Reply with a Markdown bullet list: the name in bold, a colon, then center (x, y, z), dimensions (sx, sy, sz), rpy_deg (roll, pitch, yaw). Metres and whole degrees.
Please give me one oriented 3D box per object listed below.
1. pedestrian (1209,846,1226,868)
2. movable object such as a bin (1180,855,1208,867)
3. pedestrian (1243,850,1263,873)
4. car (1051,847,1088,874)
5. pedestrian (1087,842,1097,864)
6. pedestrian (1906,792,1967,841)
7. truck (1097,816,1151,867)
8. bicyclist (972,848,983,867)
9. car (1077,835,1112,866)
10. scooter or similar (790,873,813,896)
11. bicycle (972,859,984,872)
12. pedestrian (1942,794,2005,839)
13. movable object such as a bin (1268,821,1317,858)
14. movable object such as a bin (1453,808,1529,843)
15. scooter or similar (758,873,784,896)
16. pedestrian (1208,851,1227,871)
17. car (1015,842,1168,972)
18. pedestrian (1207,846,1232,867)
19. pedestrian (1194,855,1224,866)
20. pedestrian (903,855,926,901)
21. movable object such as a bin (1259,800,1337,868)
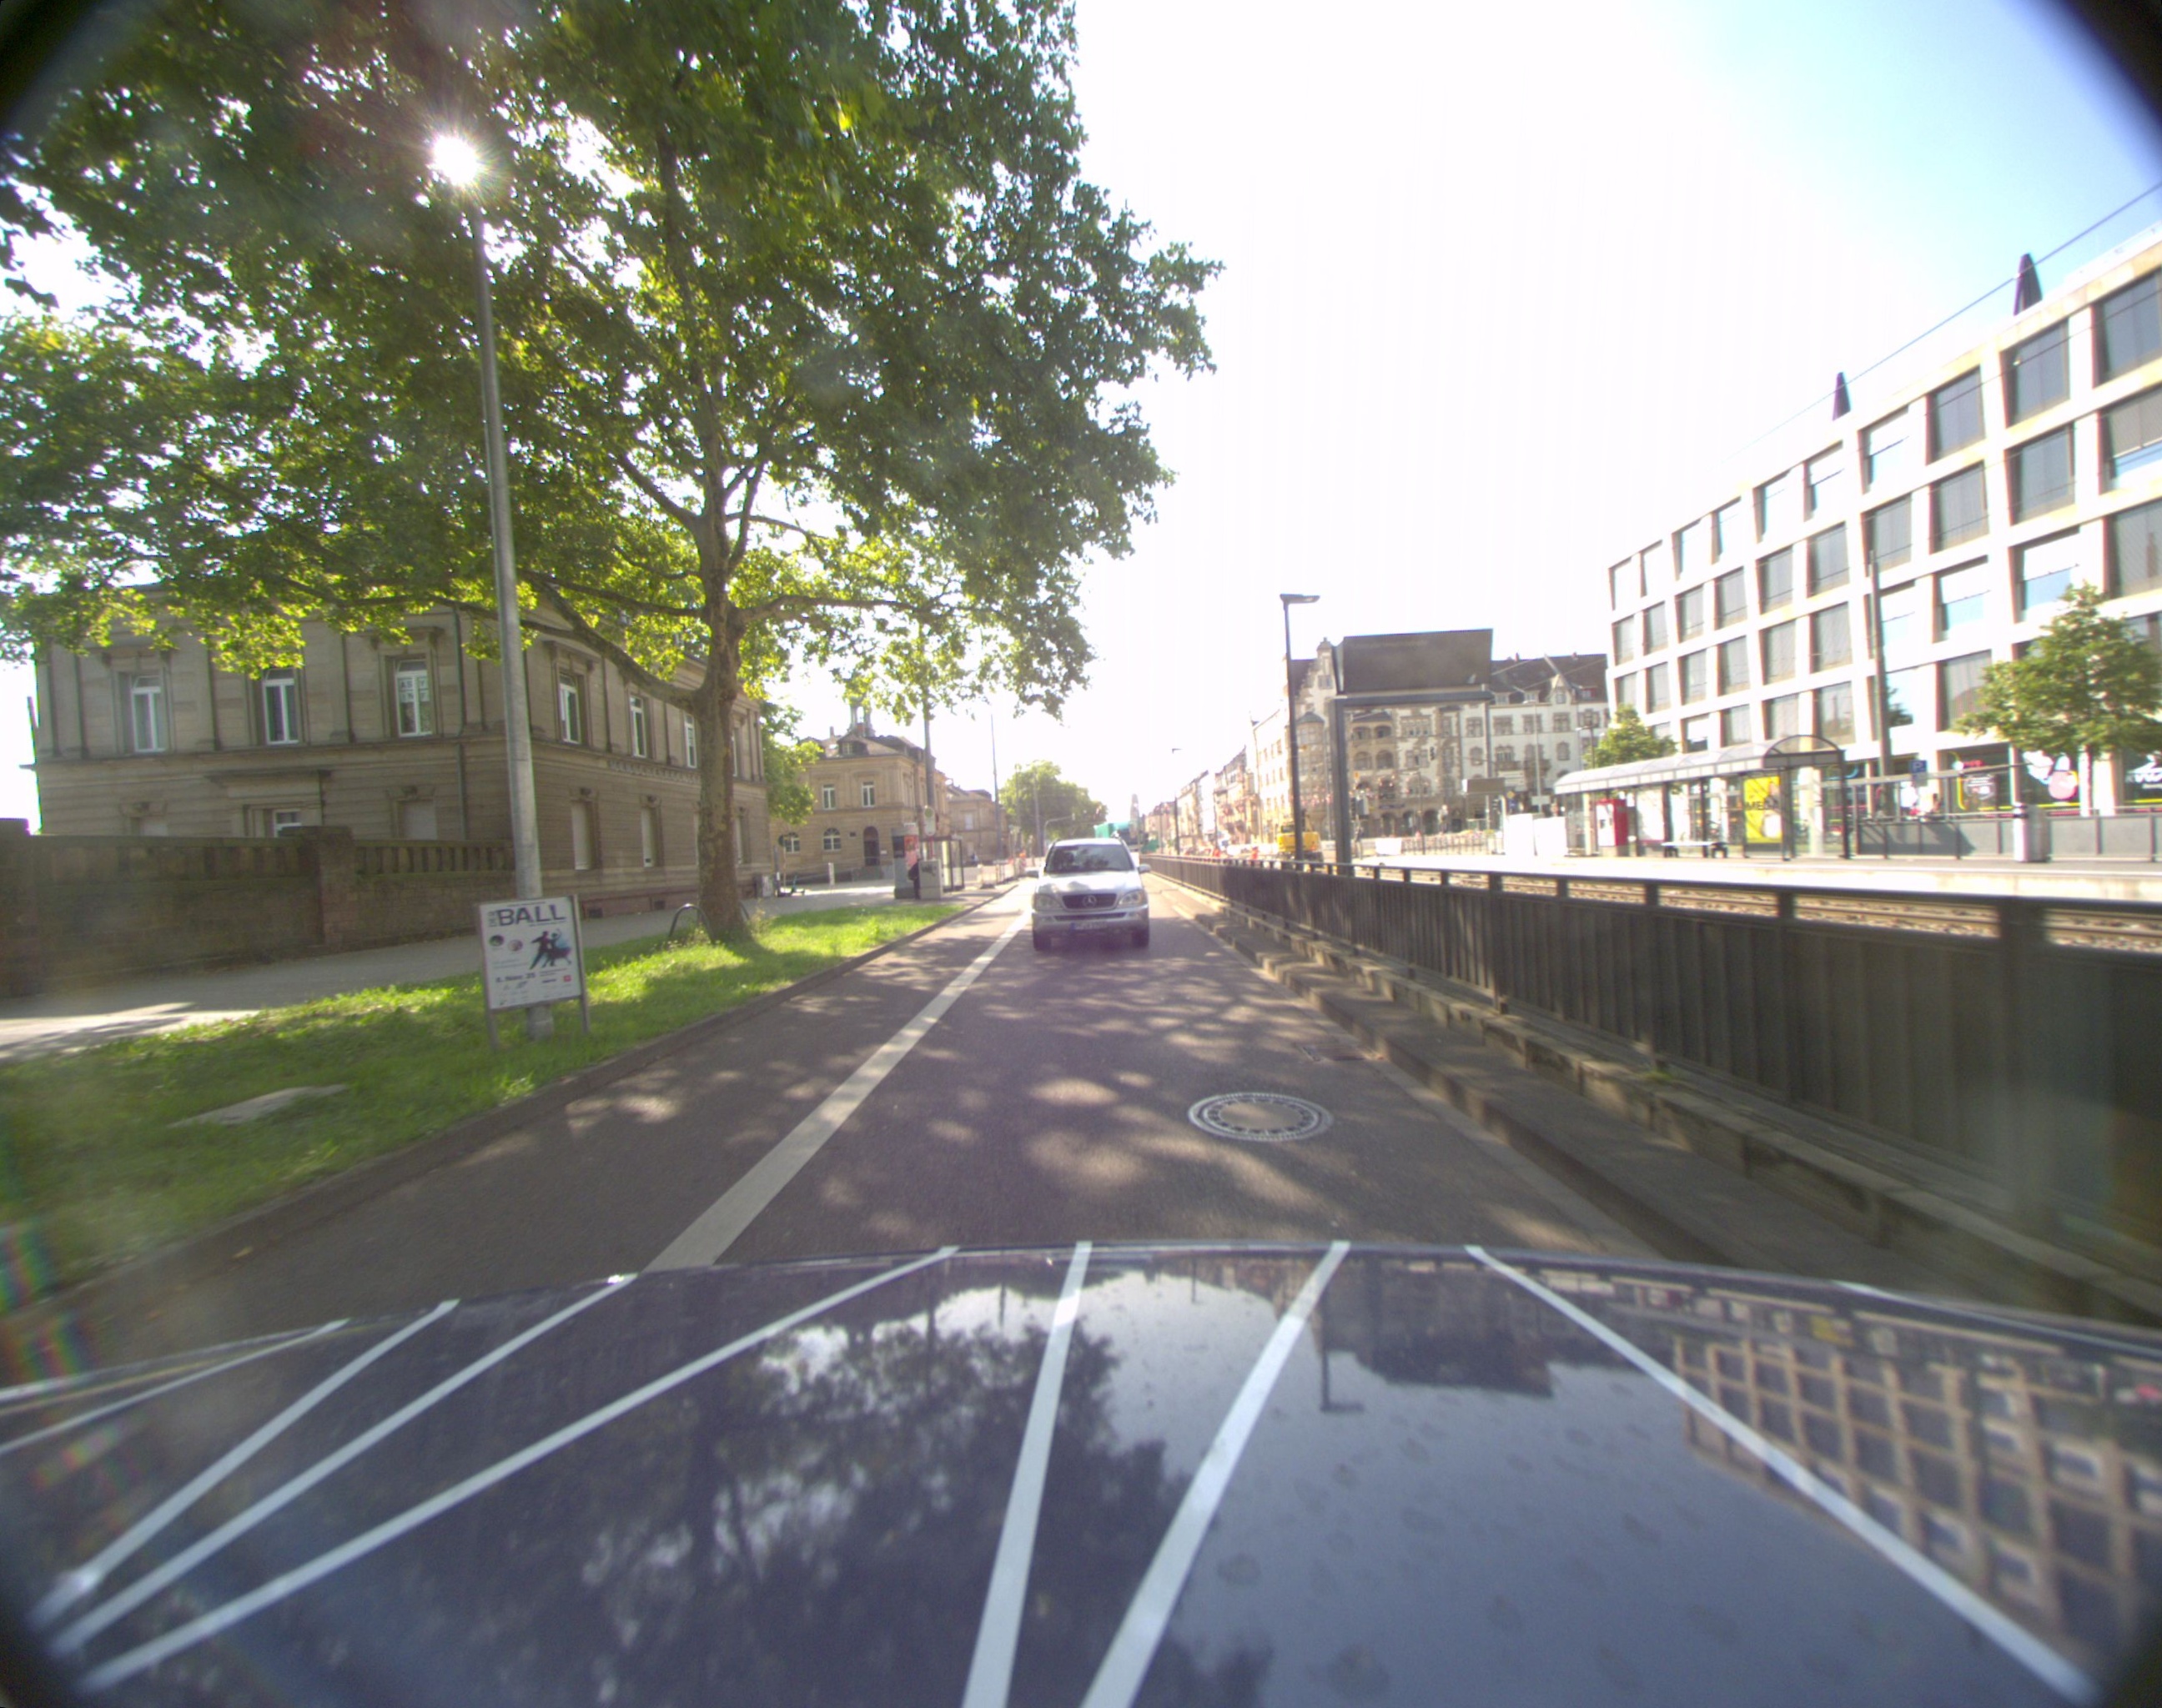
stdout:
- **pedestrian**: center (8.425, 0.166, 46.865), dimensions (0.838, 1.299, 0.800), rpy_deg (-3, 1, 25)
- **movable object such as a bin**: center (6.872, 0.425, 46.298), dimensions (1.507, 0.649, 0.702), rpy_deg (-3, 0, 22)
- **pedestrian**: center (10.417, 0.437, 46.043), dimensions (1.017, 1.299, 0.983), rpy_deg (-3, 0, 5)
- **car**: center (-0.877, 0.425, 53.336), dimensions (2.000, 1.685, 5.222), rpy_deg (-3, 0, -7)
- **pedestrian**: center (1.057, -0.103, 73.944), dimensions (0.735, 2.002, 0.907), rpy_deg (-3, 1, 7)
- **pedestrian**: center (32.162, -1.386, 28.577), dimensions (0.978, 1.742, 1.123), rpy_deg (-3, 1, 1)
- **truck**: center (3.304, -0.897, 60.685), dimensions (2.682, 3.657, 8.208), rpy_deg (-3, 0, -8)
- **bicyclist**: center (-8.784, 0.299, 64.422), dimensions (0.719, 1.534, 0.955), rpy_deg (-3, 0, -1)
- **car**: center (1.225, -0.307, 72.273), dimensions (2.232, 2.713, 5.165), rpy_deg (-3, 1, -10)
- **scooter or similar**: center (-15.337, 1.653, 41.693), dimensions (0.421, 1.202, 1.257), rpy_deg (-3, -1, 24)
- **bicycle**: center (-8.744, 0.948, 64.347), dimensions (0.719, 1.036, 1.903), rpy_deg (-3, 0, -1)
- **pedestrian**: center (33.255, -1.385, 28.334), dimensions (0.978, 1.588, 1.123), rpy_deg (-3, 1, 1)
- **movable object such as a bin**: center (21.050, -1.399, 76.050), dimensions (2.853, 3.310, 8.346), rpy_deg (-3, 1, 3)
- **movable object such as a bin**: center (36.707, -2.527, 68.124), dimensions (5.626, 2.723, 2.135), rpy_deg (-3, 1, 1)
- **scooter or similar**: center (-16.848, 1.657, 41.244), dimensions (1.256, 1.202, 0.422), rpy_deg (-2, -1, -24)
- **pedestrian**: center (8.846, 0.462, 49.143), dimensions (0.983, 1.183, 0.800), rpy_deg (-3, 0, 25)
- **car**: center (0.285, 0.699, 12.911), dimensions (1.998, 1.686, 5.226), rpy_deg (-3, 0, 3)
- **pedestrian**: center (8.697, 0.157, 47.752), dimensions (1.313, 1.299, 0.800), rpy_deg (-3, 0, 25)
- **pedestrian**: center (8.640, 0.412, 51.277), dimensions (1.906, 0.632, 0.912), rpy_deg (-3, 0, 5)
- **pedestrian**: center (-6.262, 0.897, 28.605), dimensions (0.690, 1.687, 0.647), rpy_deg (-3, 1, -20)
- **movable object such as a bin**: center (14.898, -1.320, 51.550), dimensions (3.507, 3.989, 9.055), rpy_deg (-3, 0, 25)
